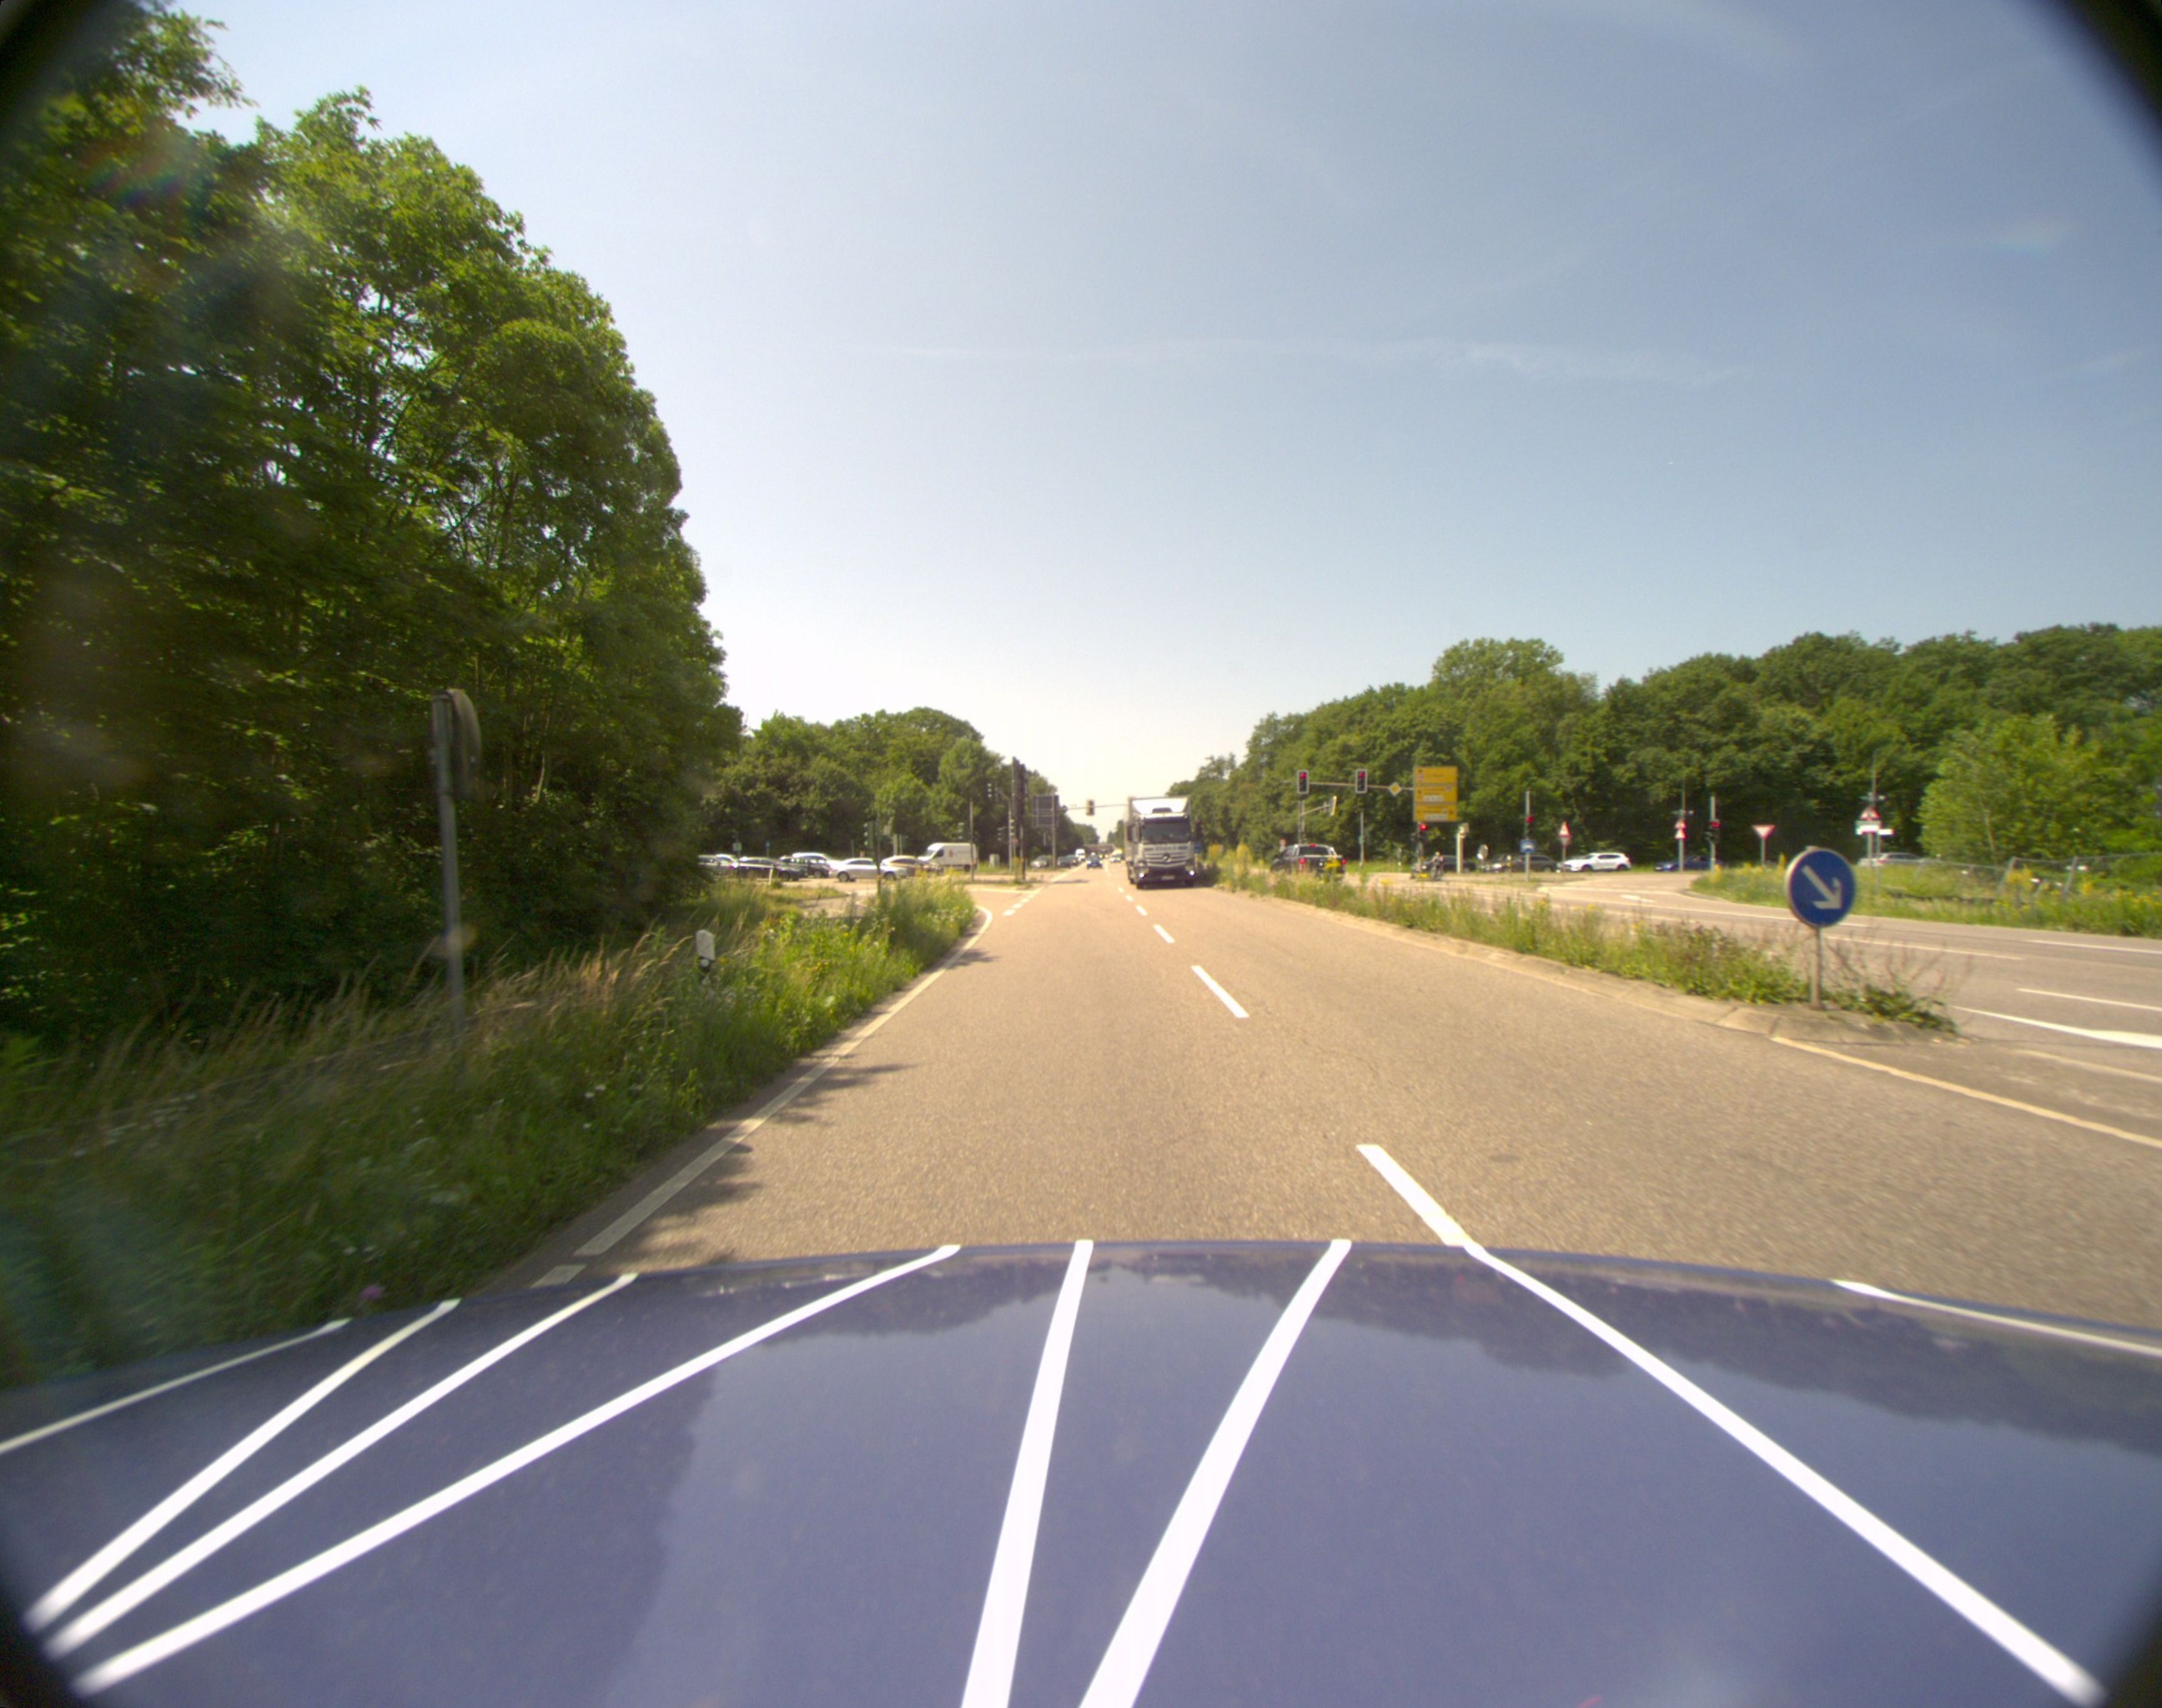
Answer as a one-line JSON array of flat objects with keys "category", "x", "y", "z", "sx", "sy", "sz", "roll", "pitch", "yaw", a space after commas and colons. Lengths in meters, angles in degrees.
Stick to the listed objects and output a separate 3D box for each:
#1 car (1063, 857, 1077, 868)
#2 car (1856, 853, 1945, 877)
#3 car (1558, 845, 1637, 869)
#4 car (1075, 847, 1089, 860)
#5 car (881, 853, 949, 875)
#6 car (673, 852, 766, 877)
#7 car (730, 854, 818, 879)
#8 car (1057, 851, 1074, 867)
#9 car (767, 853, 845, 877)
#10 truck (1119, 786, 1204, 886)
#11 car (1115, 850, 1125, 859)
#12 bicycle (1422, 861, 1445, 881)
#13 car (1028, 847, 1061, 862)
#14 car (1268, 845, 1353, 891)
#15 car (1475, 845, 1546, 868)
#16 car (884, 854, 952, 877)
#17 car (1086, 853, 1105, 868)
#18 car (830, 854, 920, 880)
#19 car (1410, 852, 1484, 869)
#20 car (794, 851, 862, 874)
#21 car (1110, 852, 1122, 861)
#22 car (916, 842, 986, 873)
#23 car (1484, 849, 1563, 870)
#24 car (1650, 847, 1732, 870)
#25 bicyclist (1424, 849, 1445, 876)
[{"category": "car", "x": -1.459, "y": 1.098, "z": 103.189, "sx": 1.796, "sy": 1.431, "sz": 4.228, "roll": -1, "pitch": 0, "yaw": 0}, {"category": "car", "x": 52.844, "y": 0.710, "z": 49.040, "sx": 4.013, "sy": 1.383, "sz": 1.770, "roll": -2, "pitch": 0, "yaw": -4}, {"category": "car", "x": 40.653, "y": 0.240, "z": 59.892, "sx": 4.816, "sy": 1.885, "sz": 2.066, "roll": 0, "pitch": 1, "yaw": 2}, {"category": "car", "x": 0.186, "y": -0.105, "z": 164.898, "sx": 2.673, "sy": 2.685, "sz": 6.331, "roll": 0, "pitch": 0, "yaw": 3}, {"category": "car", "x": -11.841, "y": 0.683, "z": 54.417, "sx": 4.430, "sy": 1.526, "sz": 2.000, "roll": 0, "pitch": 1, "yaw": 0}, {"category": "car", "x": -24.064, "y": 0.680, "z": 50.701, "sx": 5.141, "sy": 1.525, "sz": 2.138, "roll": 0, "pitch": 1, "yaw": 2}, {"category": "car", "x": -19.181, "y": 0.783, "z": 47.570, "sx": 4.628, "sy": 1.490, "sz": 2.112, "roll": 0, "pitch": 1, "yaw": 2}, {"category": "car", "x": -1.820, "y": 0.581, "z": 90.207, "sx": 1.740, "sy": 1.681, "sz": 3.735, "roll": -2, "pitch": 1, "yaw": 1}, {"category": "car", "x": -18.519, "y": 0.703, "z": 51.260, "sx": 4.430, "sy": 1.526, "sz": 2.122, "roll": 0, "pitch": 1, "yaw": 1}, {"category": "truck", "x": 3.482, "y": -0.740, "z": 35.891, "sx": 2.753, "sy": 3.862, "sz": 11.319, "roll": -2, "pitch": 0, "yaw": 0}, {"category": "car", "x": 8.154, "y": 0.163, "z": 160.354, "sx": 1.998, "sy": 1.867, "sz": 4.000, "roll": 0, "pitch": 0, "yaw": 1}, {"category": "bicycle", "x": 19.580, "y": 0.913, "z": 42.221, "sx": 0.722, "sy": 1.057, "sz": 1.873, "roll": 0, "pitch": 1, "yaw": 39}, {"category": "car", "x": -3.792, "y": 0.015, "z": 79.200, "sx": 1.793, "sy": 1.452, "sz": 4.235, "roll": 2, "pitch": 1, "yaw": 22}, {"category": "car", "x": 9.136, "y": 0.498, "z": 30.769, "sx": 1.998, "sy": 1.668, "sz": 5.366, "roll": 1, "pitch": 0, "yaw": 2}, {"category": "car", "x": 35.987, "y": 0.182, "z": 63.749, "sx": 4.817, "sy": 1.887, "sz": 2.000, "roll": 0, "pitch": 1, "yaw": 1}, {"category": "car", "x": -10.811, "y": 0.740, "z": 50.535, "sx": 4.102, "sy": 1.438, "sz": 1.995, "roll": 0, "pitch": 1, "yaw": 0}, {"category": "car", "x": 1.532, "y": 0.652, "z": 83.736, "sx": 1.992, "sy": 1.575, "sz": 4.364, "roll": -1, "pitch": 0, "yaw": 0}, {"category": "car", "x": -12.701, "y": 0.794, "z": 46.998, "sx": 4.943, "sy": 1.490, "sz": 2.020, "roll": -1, "pitch": 1, "yaw": 2}, {"category": "car", "x": 28.866, "y": 0.527, "z": 60.054, "sx": 4.816, "sy": 1.283, "sz": 2.105, "roll": 0, "pitch": 1, "yaw": 2}, {"category": "car", "x": -18.062, "y": 0.581, "z": 54.313, "sx": 4.182, "sy": 1.649, "sz": 2.000, "roll": 0, "pitch": 1, "yaw": 2}, {"category": "car", "x": 6.049, "y": 0.438, "z": 132.345, "sx": 1.998, "sy": 1.543, "sz": 4.000, "roll": 0, "pitch": 0, "yaw": 1}, {"category": "car", "x": -11.610, "y": 0.273, "z": 68.288, "sx": 6.071, "sy": 2.629, "sz": 1.971, "roll": -2, "pitch": 0, "yaw": -43}, {"category": "car", "x": 32.656, "y": 0.392, "z": 56.151, "sx": 4.817, "sy": 1.510, "sz": 1.862, "roll": 0, "pitch": 1, "yaw": 0}, {"category": "car", "x": 47.796, "y": 0.344, "z": 59.636, "sx": 4.817, "sy": 1.747, "sz": 2.000, "roll": 0, "pitch": 1, "yaw": 0}, {"category": "bicyclist", "x": 19.638, "y": 0.450, "z": 42.181, "sx": 0.924, "sy": 1.451, "sz": 0.718, "roll": 0, "pitch": 1, "yaw": 39}]
